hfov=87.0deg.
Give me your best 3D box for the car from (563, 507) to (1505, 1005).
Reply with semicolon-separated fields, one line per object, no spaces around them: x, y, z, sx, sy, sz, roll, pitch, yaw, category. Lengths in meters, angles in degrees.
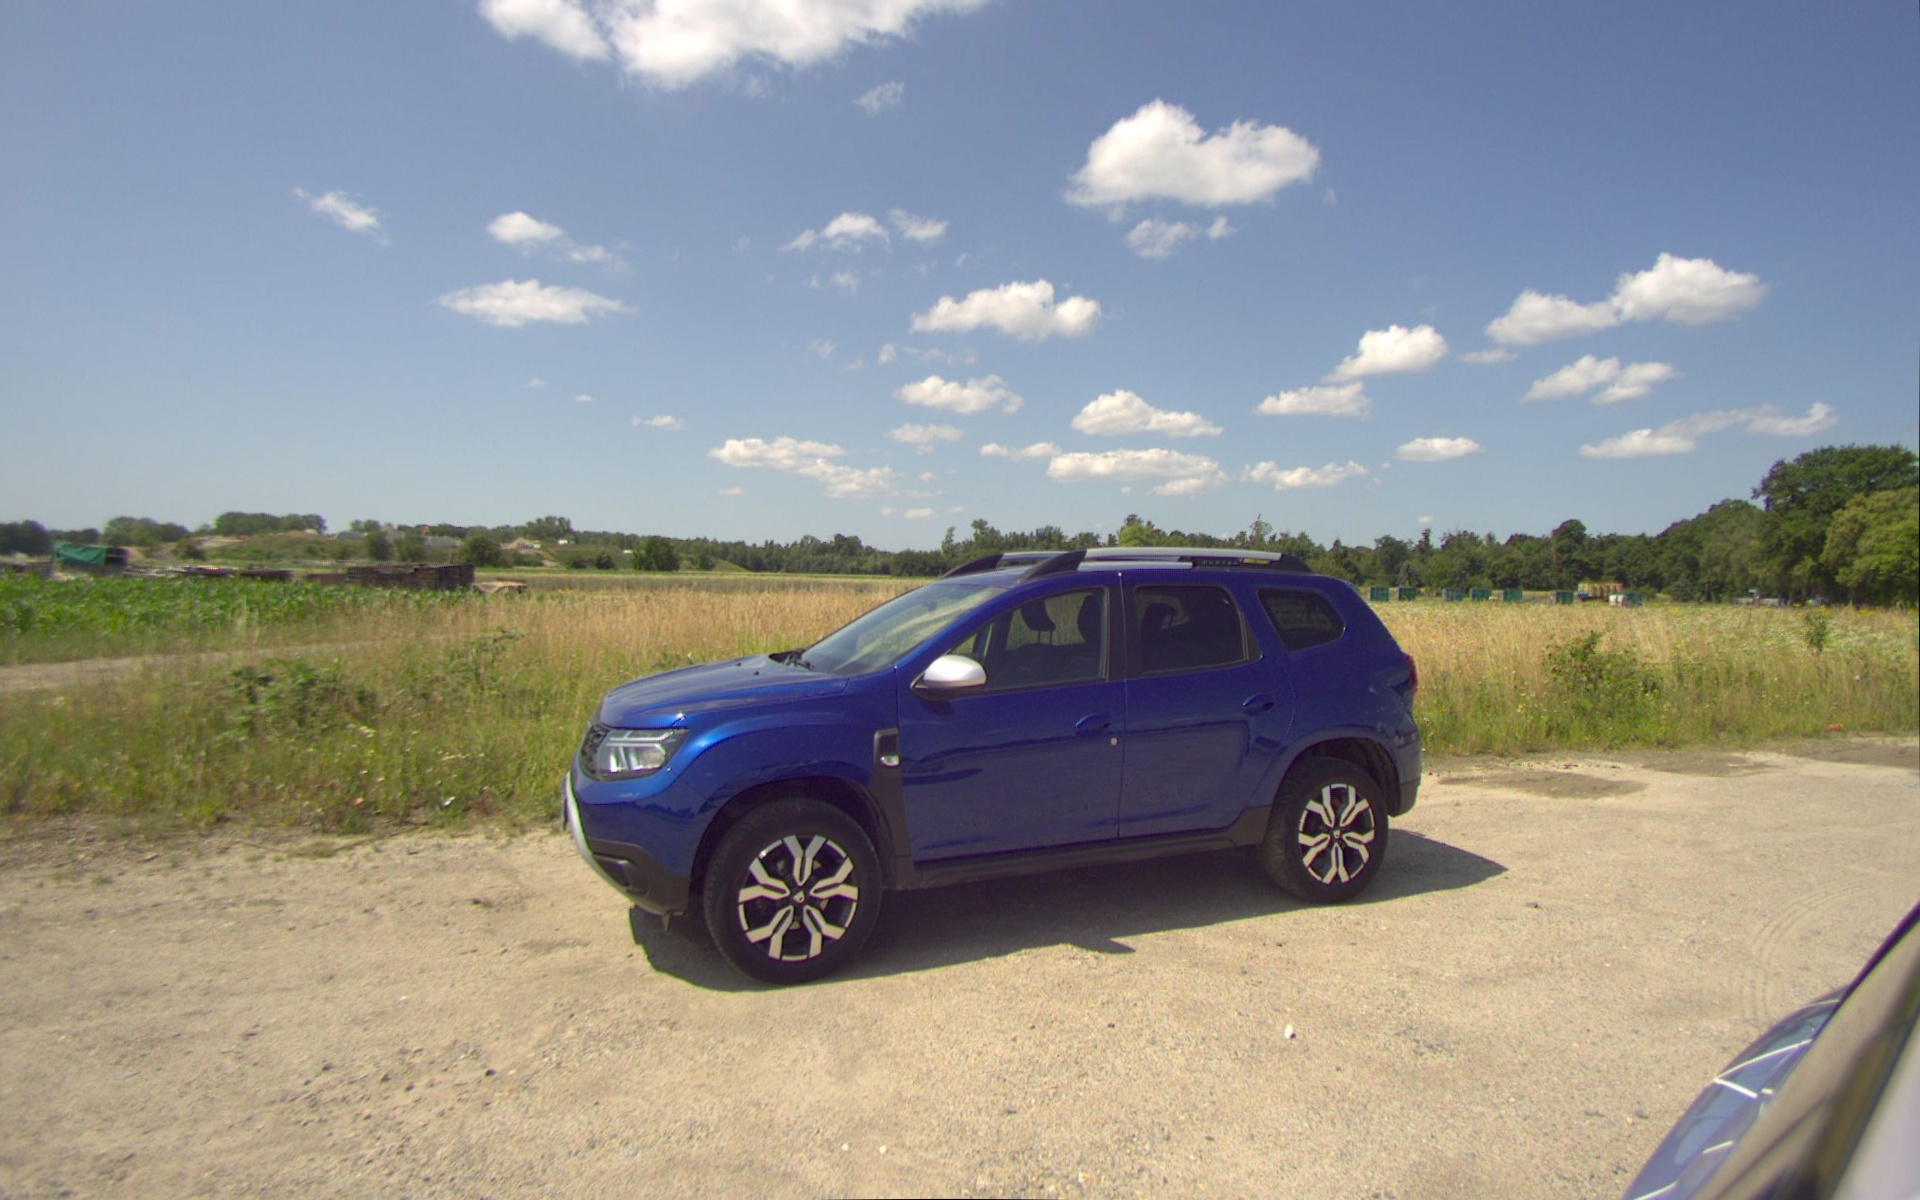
0.350;0.501;5.104;4.365;1.682;1.868;0;1;-22;car
